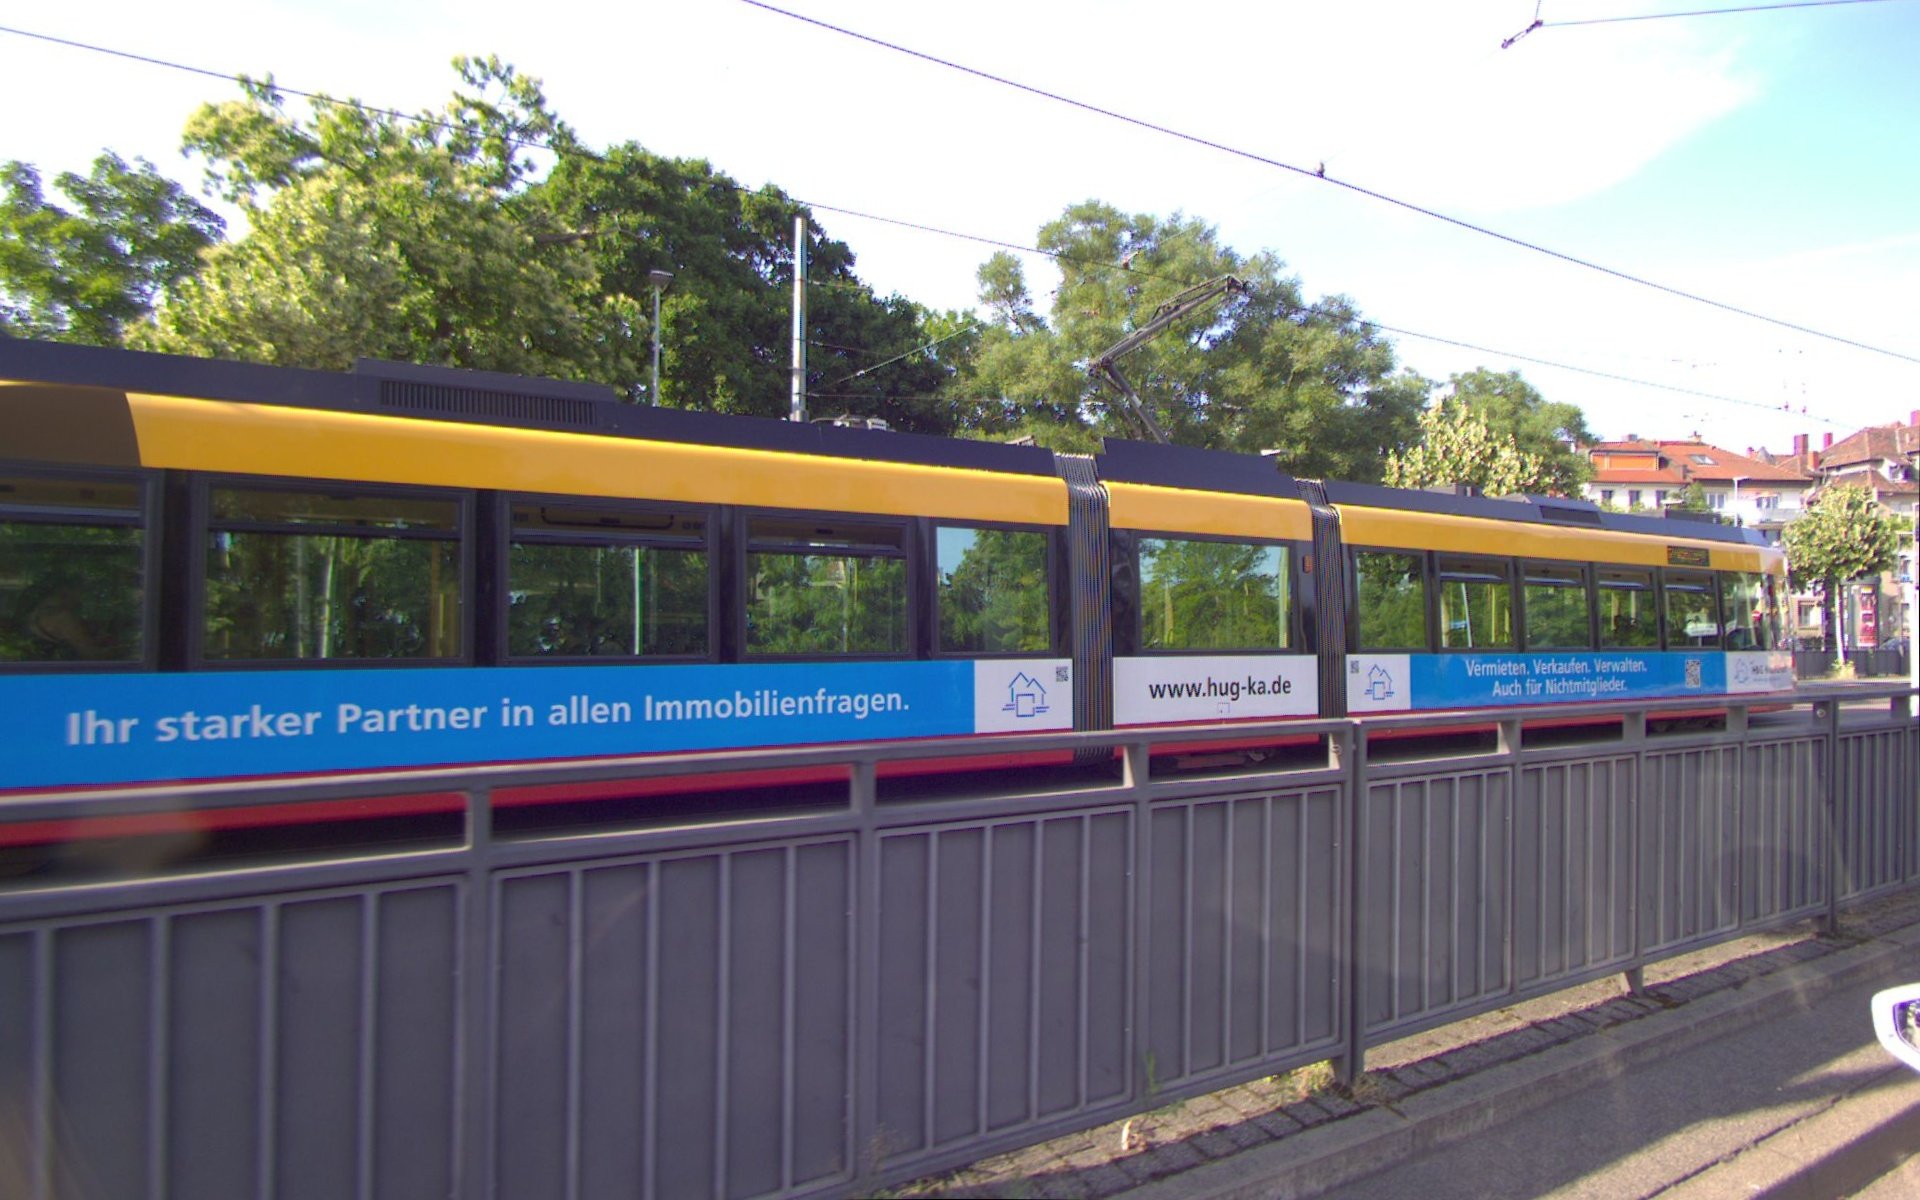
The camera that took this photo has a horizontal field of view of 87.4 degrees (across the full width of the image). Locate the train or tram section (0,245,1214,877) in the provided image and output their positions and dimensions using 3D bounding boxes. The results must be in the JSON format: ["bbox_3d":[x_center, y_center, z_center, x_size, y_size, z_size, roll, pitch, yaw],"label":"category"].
[{"bbox_3d":[-4.463,-0.172,7.907,14.355,3.525,3.148,1,-1,-29],"label":"train or tram section"}]

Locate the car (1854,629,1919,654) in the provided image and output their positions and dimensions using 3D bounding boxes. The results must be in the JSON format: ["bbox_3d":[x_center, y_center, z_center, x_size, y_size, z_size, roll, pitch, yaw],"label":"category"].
[{"bbox_3d":[67.980,2.998,73.102,1.964,1.773,3.993,0,-1,-11],"label":"car"}]

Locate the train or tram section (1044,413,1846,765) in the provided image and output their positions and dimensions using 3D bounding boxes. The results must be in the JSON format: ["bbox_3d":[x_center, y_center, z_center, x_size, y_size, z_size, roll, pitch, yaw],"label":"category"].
[{"bbox_3d":[8.050,-0.008,14.934,14.295,3.525,3.148,1,-1,-29],"label":"train or tram section"}]

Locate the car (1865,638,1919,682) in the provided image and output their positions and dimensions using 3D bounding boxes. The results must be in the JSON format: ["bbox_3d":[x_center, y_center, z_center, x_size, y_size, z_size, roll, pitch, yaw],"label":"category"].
[{"bbox_3d":[39.225,2.431,41.239,3.953,1.706,1.984,1,-1,-30],"label":"car"}]
